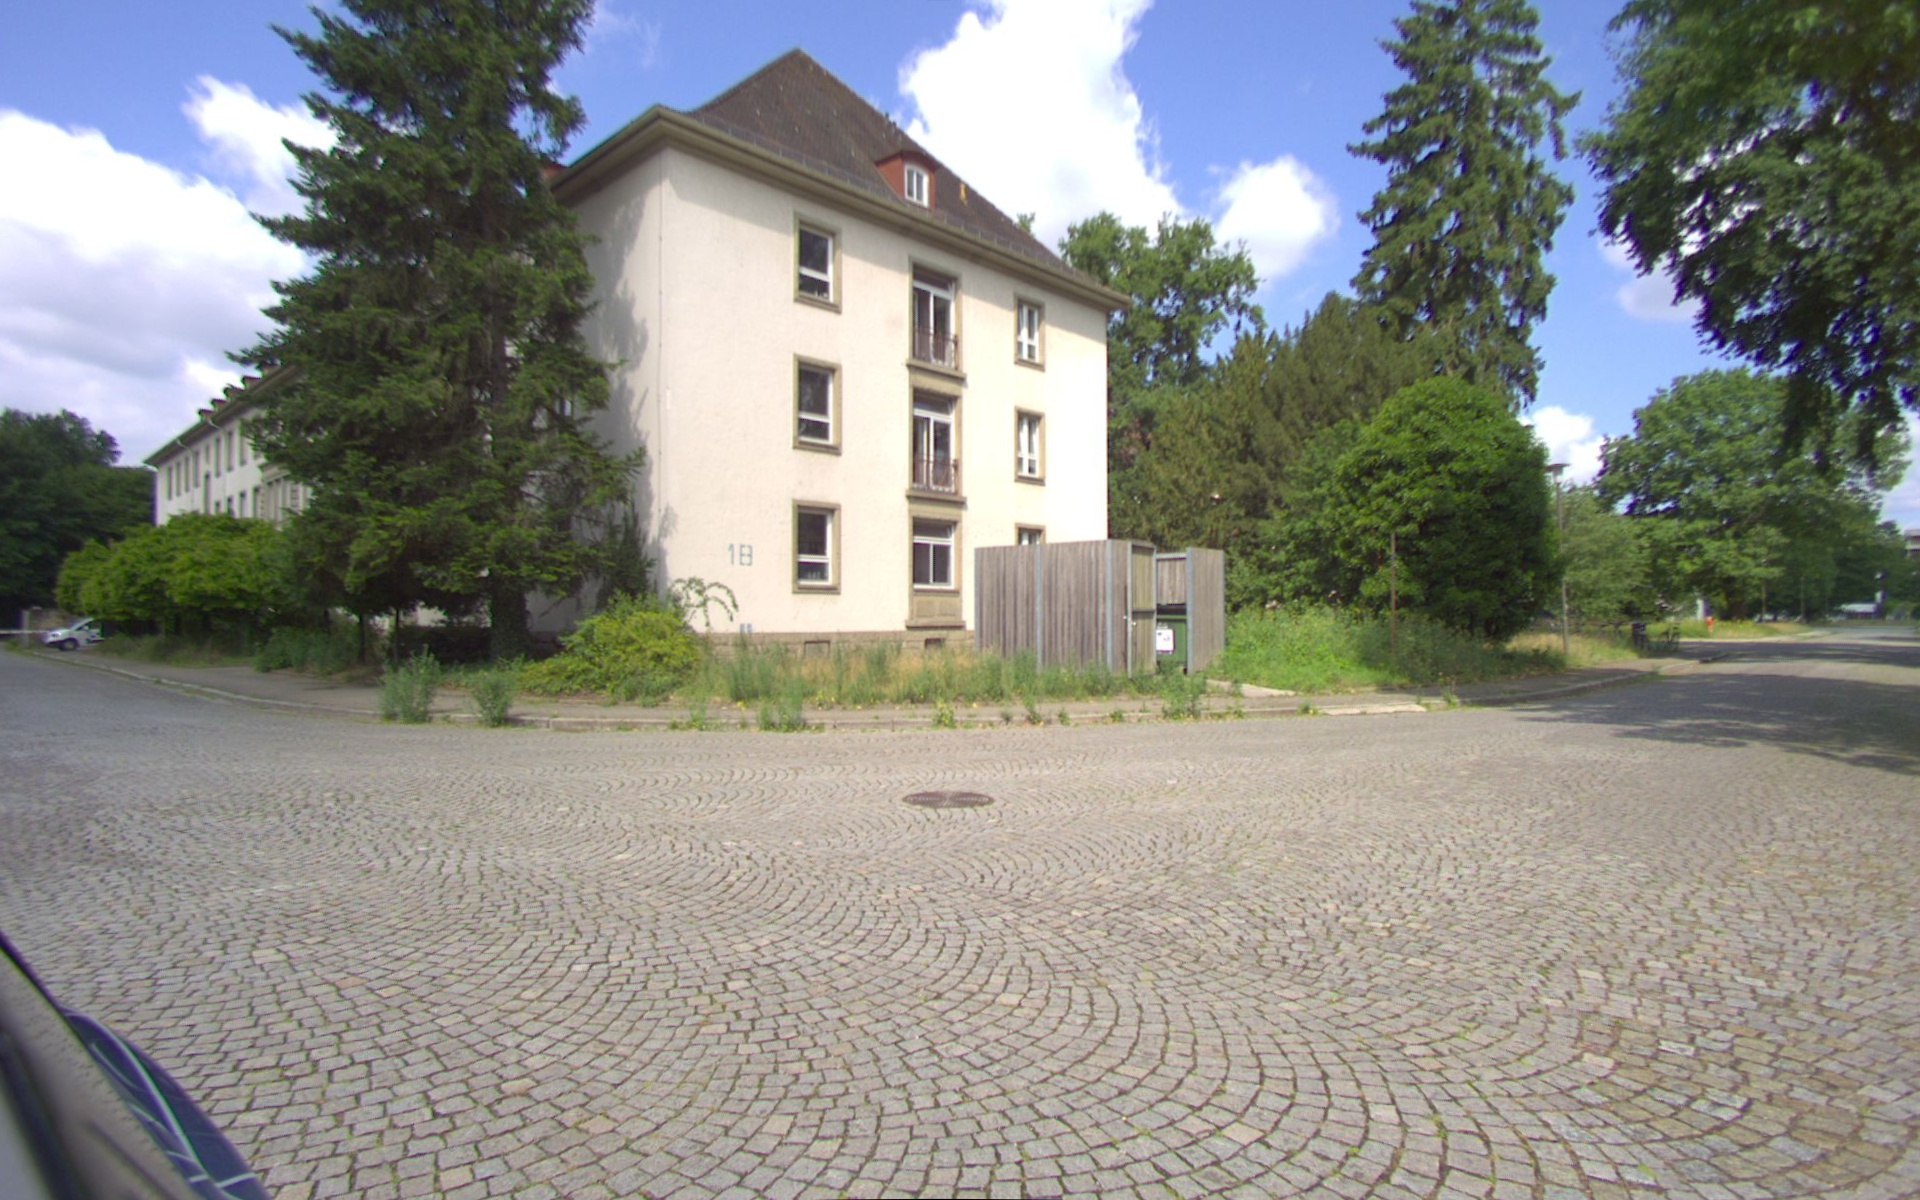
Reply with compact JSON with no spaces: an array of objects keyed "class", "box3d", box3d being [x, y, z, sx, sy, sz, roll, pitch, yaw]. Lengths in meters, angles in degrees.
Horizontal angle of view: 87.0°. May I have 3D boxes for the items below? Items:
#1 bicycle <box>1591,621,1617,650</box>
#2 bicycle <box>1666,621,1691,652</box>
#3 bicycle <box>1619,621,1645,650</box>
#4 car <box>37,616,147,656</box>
[{"class":"bicycle","box3d":[25.701,1.402,40.354,0.559,1.106,2.185,-1,-1,40]},{"class":"bicycle","box3d":[27.153,1.365,38.219,0.559,1.106,2.185,-1,-1,40]},{"class":"bicycle","box3d":[26.388,1.385,39.724,0.559,1.106,2.185,-1,-1,40]},{"class":"car","box3d":[-46.939,1.912,54.793,1.819,1.819,4.257,-1,2,40]}]
